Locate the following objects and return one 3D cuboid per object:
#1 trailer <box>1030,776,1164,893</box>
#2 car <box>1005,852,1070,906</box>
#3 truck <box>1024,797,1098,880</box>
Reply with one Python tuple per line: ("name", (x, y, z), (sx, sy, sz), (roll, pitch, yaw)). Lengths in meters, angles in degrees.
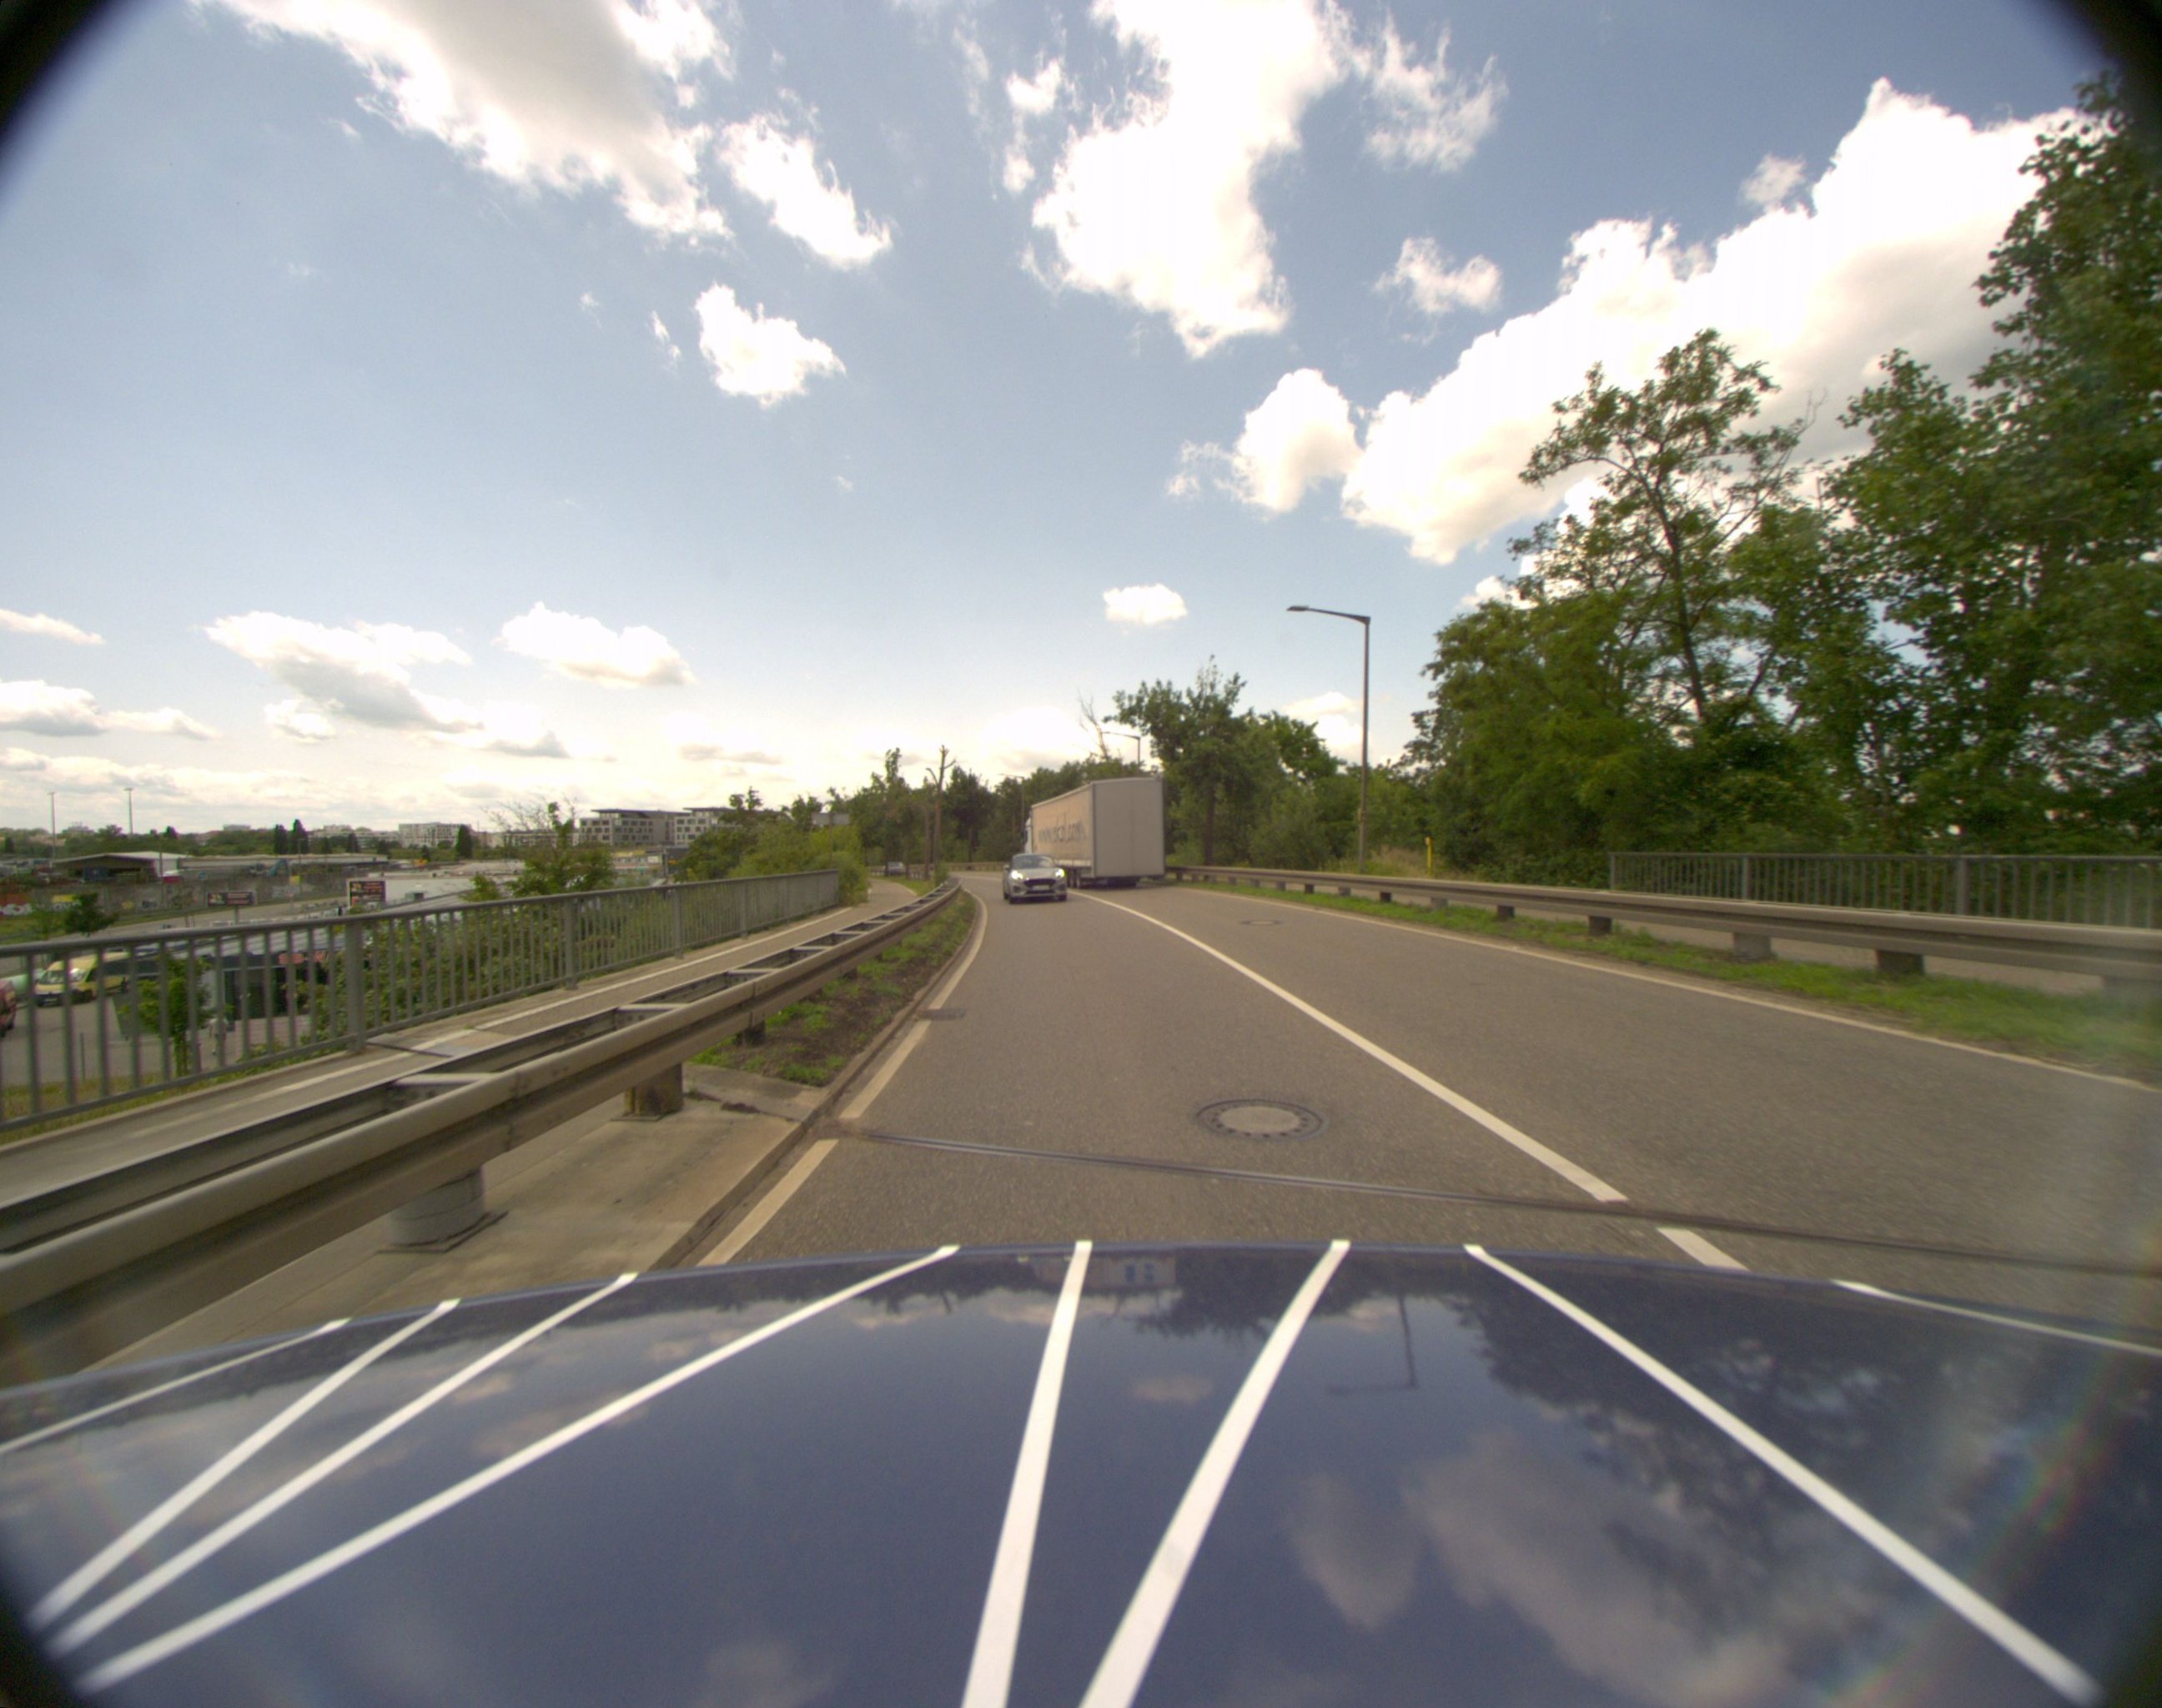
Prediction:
("trailer", (0.167, -0.792, 35.112), (2.716, 4.255, 14.214), (-3, 1, -13))
("car", (-1.505, 0.757, 24.906), (1.829, 1.516, 3.998), (-3, 0, -7))
("truck", (-1.210, -0.841, 41.420), (2.771, 4.111, 5.646), (-3, 1, -13))
